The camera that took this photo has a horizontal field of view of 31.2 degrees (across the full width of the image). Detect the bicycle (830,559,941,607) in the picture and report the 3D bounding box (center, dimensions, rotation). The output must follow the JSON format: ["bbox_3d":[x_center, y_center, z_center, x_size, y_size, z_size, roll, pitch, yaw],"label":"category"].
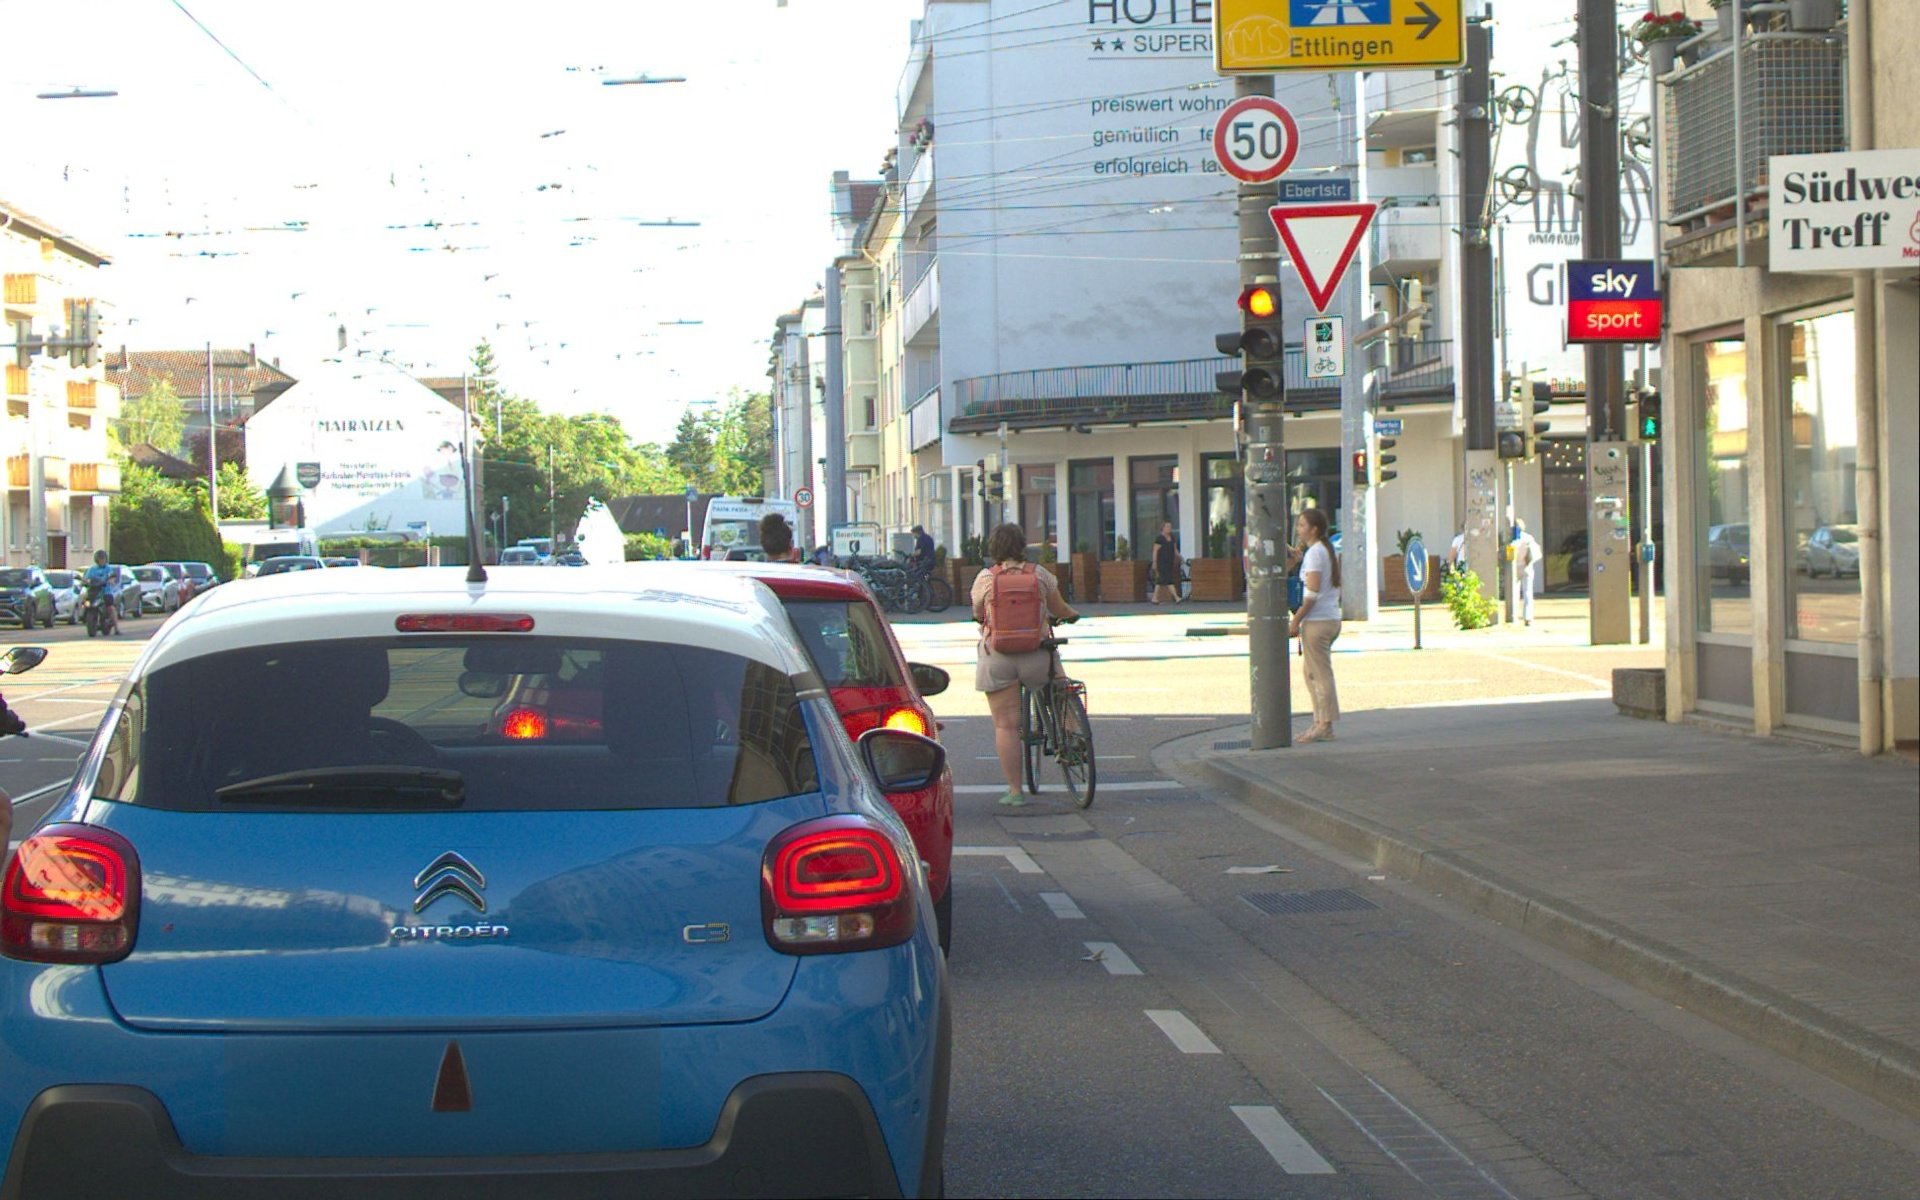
[{"bbox_3d":[-1.454,-0.327,67.119,2.132,0.898,0.367,1,0,-9],"label":"bicycle"}]

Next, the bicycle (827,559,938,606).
[{"bbox_3d":[-1.517,-0.338,67.544,2.132,0.898,0.367,1,0,-9],"label":"bicycle"}]

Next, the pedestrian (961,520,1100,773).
[{"bbox_3d":[0.410,0.266,20.226,0.777,1.455,0.682,1,0,-1],"label":"pedestrian"}]

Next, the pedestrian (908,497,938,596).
[{"bbox_3d":[-0.755,-1.089,70.303,0.577,2.007,0.626,1,0,-3],"label":"pedestrian"}]

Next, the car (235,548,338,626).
[{"bbox_3d":[-14.941,-0.302,76.383,1.774,1.660,3.857,1,1,-4],"label":"car"}]

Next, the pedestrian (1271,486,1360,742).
[{"bbox_3d":[2.500,0.094,24.192,0.517,1.777,0.595,1,0,-2],"label":"pedestrian"}]

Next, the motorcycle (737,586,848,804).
[{"bbox_3d":[-0.927,0.501,19.435,0.526,1.136,2.290,1,1,-1],"label":"motorcycle"}]

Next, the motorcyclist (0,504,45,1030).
[{"bbox_3d":[-3.162,0.470,9.938,0.860,1.500,0.598,1,0,-1],"label":"motorcyclist"}]

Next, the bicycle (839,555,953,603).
[{"bbox_3d":[-1.230,-0.397,65.887,2.132,0.898,0.367,1,0,-9],"label":"bicycle"}]

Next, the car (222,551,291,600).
[{"bbox_3d":[-24.797,-0.886,121.309,1.846,1.681,3.875,1,1,-4],"label":"car"}]

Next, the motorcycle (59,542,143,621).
[{"bbox_3d":[-16.827,-0.372,67.439,0.923,1.481,3.726,1,1,-3],"label":"motorcycle"}]

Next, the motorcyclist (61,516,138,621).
[{"bbox_3d":[-16.838,-0.628,67.300,1.185,2.007,1.276,-1,1,-3],"label":"motorcyclist"}]

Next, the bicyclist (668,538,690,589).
[{"bbox_3d":[-8.190,-1.063,100.220,0.561,1.472,0.748,1,0,-1],"label":"bicyclist"}]

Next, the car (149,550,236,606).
[{"bbox_3d":[-23.709,-0.686,106.324,1.983,1.681,4.001,1,1,-3],"label":"car"}]

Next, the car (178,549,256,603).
[{"bbox_3d":[-23.999,-0.774,111.201,1.882,1.681,4.001,1,1,-4],"label":"car"}]

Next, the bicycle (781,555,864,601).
[{"bbox_3d":[-2.779,-0.440,69.290,1.785,0.898,0.366,1,1,34],"label":"bicycle"}]

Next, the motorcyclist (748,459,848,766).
[{"bbox_3d":[-0.919,0.066,19.618,0.526,1.710,0.717,1,0,-1],"label":"motorcyclist"}]

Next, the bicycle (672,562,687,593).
[{"bbox_3d":[-8.196,-0.652,100.333,0.349,0.900,1.859,1,1,-2],"label":"bicycle"}]

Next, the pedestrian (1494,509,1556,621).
[{"bbox_3d":[8.419,-0.526,51.280,0.752,1.652,0.883,1,0,0],"label":"pedestrian"}]

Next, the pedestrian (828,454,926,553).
[{"bbox_3d":[-1.751,-2.036,73.529,1.993,2.007,4.000,1,1,-1],"label":"pedestrian"}]

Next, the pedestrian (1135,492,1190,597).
[{"bbox_3d":[3.878,-1.061,65.860,0.759,2.007,0.709,1,1,44],"label":"pedestrian"}]

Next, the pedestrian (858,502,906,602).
[{"bbox_3d":[-1.567,-0.970,69.239,0.630,2.007,0.724,0,0,-36],"label":"pedestrian"}]

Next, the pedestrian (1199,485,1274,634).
[{"bbox_3d":[3.772,-0.550,46.922,0.926,2.007,0.759,1,0,-1],"label":"pedestrian"}]

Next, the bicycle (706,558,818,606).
[{"bbox_3d":[-3.815,-0.350,66.241,2.132,0.898,0.367,1,0,-9],"label":"bicycle"}]

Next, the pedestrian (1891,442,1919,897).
[{"bbox_3d":[3.766,0.246,11.958,0.825,1.587,0.751,1,0,-1],"label":"pedestrian"}]

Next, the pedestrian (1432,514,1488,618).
[{"bbox_3d":[7.771,-0.529,53.491,0.736,1.595,0.749,1,0,0],"label":"pedestrian"}]

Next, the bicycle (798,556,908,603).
[{"bbox_3d":[-2.130,-0.409,68.305,2.132,0.898,0.367,1,0,-9],"label":"bicycle"}]

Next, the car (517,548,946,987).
[{"bbox_3d":[-0.793,0.558,13.159,1.424,1.462,2.924,-1,0,-1],"label":"car"}]

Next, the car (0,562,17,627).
[{"bbox_3d":[-23.207,-0.129,79.409,1.787,1.506,4.150,1,1,-2],"label":"car"}]

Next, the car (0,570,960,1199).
[{"bbox_3d":[-0.856,0.671,7.165,1.654,1.439,3.523,1,1,-1],"label":"car"}]

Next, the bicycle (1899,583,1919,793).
[{"bbox_3d":[4.842,0.426,15.825,0.542,0.995,1.706,1,1,-1],"label":"bicycle"}]

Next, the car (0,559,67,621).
[{"bbox_3d":[-23.652,-0.269,86.063,1.785,1.493,4.001,1,1,-4],"label":"car"}]

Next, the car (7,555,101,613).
[{"bbox_3d":[-24.290,-0.441,92.283,1.732,1.493,4.001,1,1,-5],"label":"car"}]

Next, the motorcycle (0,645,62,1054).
[{"bbox_3d":[-3.153,0.762,10.058,0.537,1.215,1.981,1,1,-1],"label":"motorcycle"}]

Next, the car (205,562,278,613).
[{"bbox_3d":[-24.347,-0.439,116.614,1.833,1.681,4.001,1,1,-4],"label":"car"}]

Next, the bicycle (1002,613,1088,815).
[{"bbox_3d":[0.494,0.651,20.545,0.427,1.119,1.998,1,1,-1],"label":"bicycle"}]
